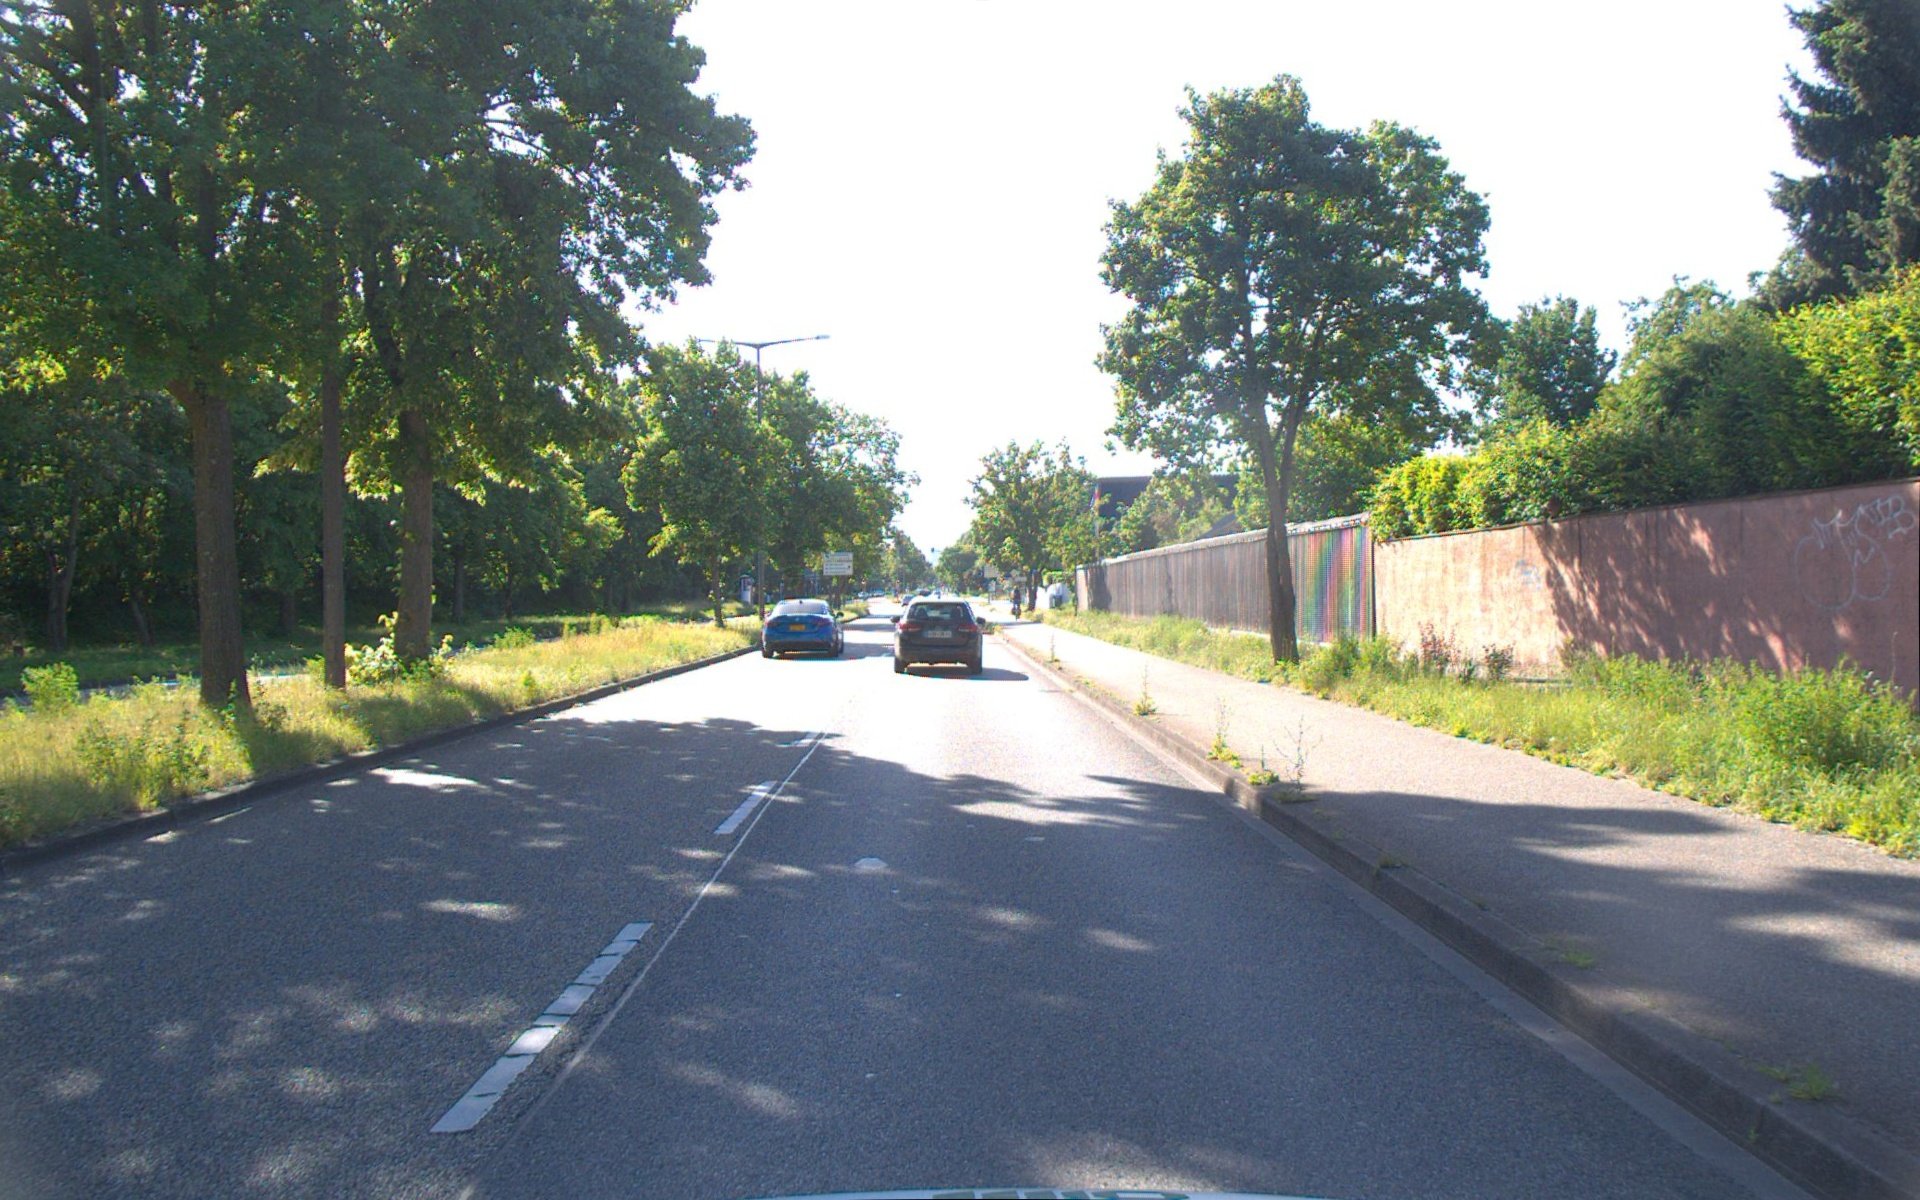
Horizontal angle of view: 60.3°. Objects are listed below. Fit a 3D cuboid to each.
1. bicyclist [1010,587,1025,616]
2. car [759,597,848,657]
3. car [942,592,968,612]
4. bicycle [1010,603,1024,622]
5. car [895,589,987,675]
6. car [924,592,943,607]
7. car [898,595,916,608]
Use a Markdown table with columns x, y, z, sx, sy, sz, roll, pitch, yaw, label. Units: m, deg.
| x | y | z | sx | sy | sz | roll | pitch | yaw | label |
| --- | --- | --- | --- | --- | --- | --- | --- | --- | --- |
| 2.873 | 0.057 | 82.919 | 0.666 | 1.443 | 0.812 | -1 | 0 | -1 | bicyclist |
| -3.908 | 0.647 | 41.871 | 1.954 | 1.429 | 3.999 | -1 | 0 | -2 | car |
| -0.394 | 0.179 | 132.534 | 1.938 | 1.465 | 3.999 | -1 | 1 | -2 | car |
| 2.856 | 0.613 | 82.893 | 0.642 | 0.908 | 1.874 | -1 | 0 | -1 | bicycle |
| -0.352 | 0.600 | 33.258 | 1.724 | 1.586 | 4.000 | 1 | 0 | 0 | car |
| -2.775 | -0.027 | 171.867 | 1.938 | 1.465 | 3.999 | -1 | 1 | -2 | car |
| -6.321 | 0.185 | 197.632 | 1.939 | 1.465 | 3.997 | -1 | 1 | -5 | car |
